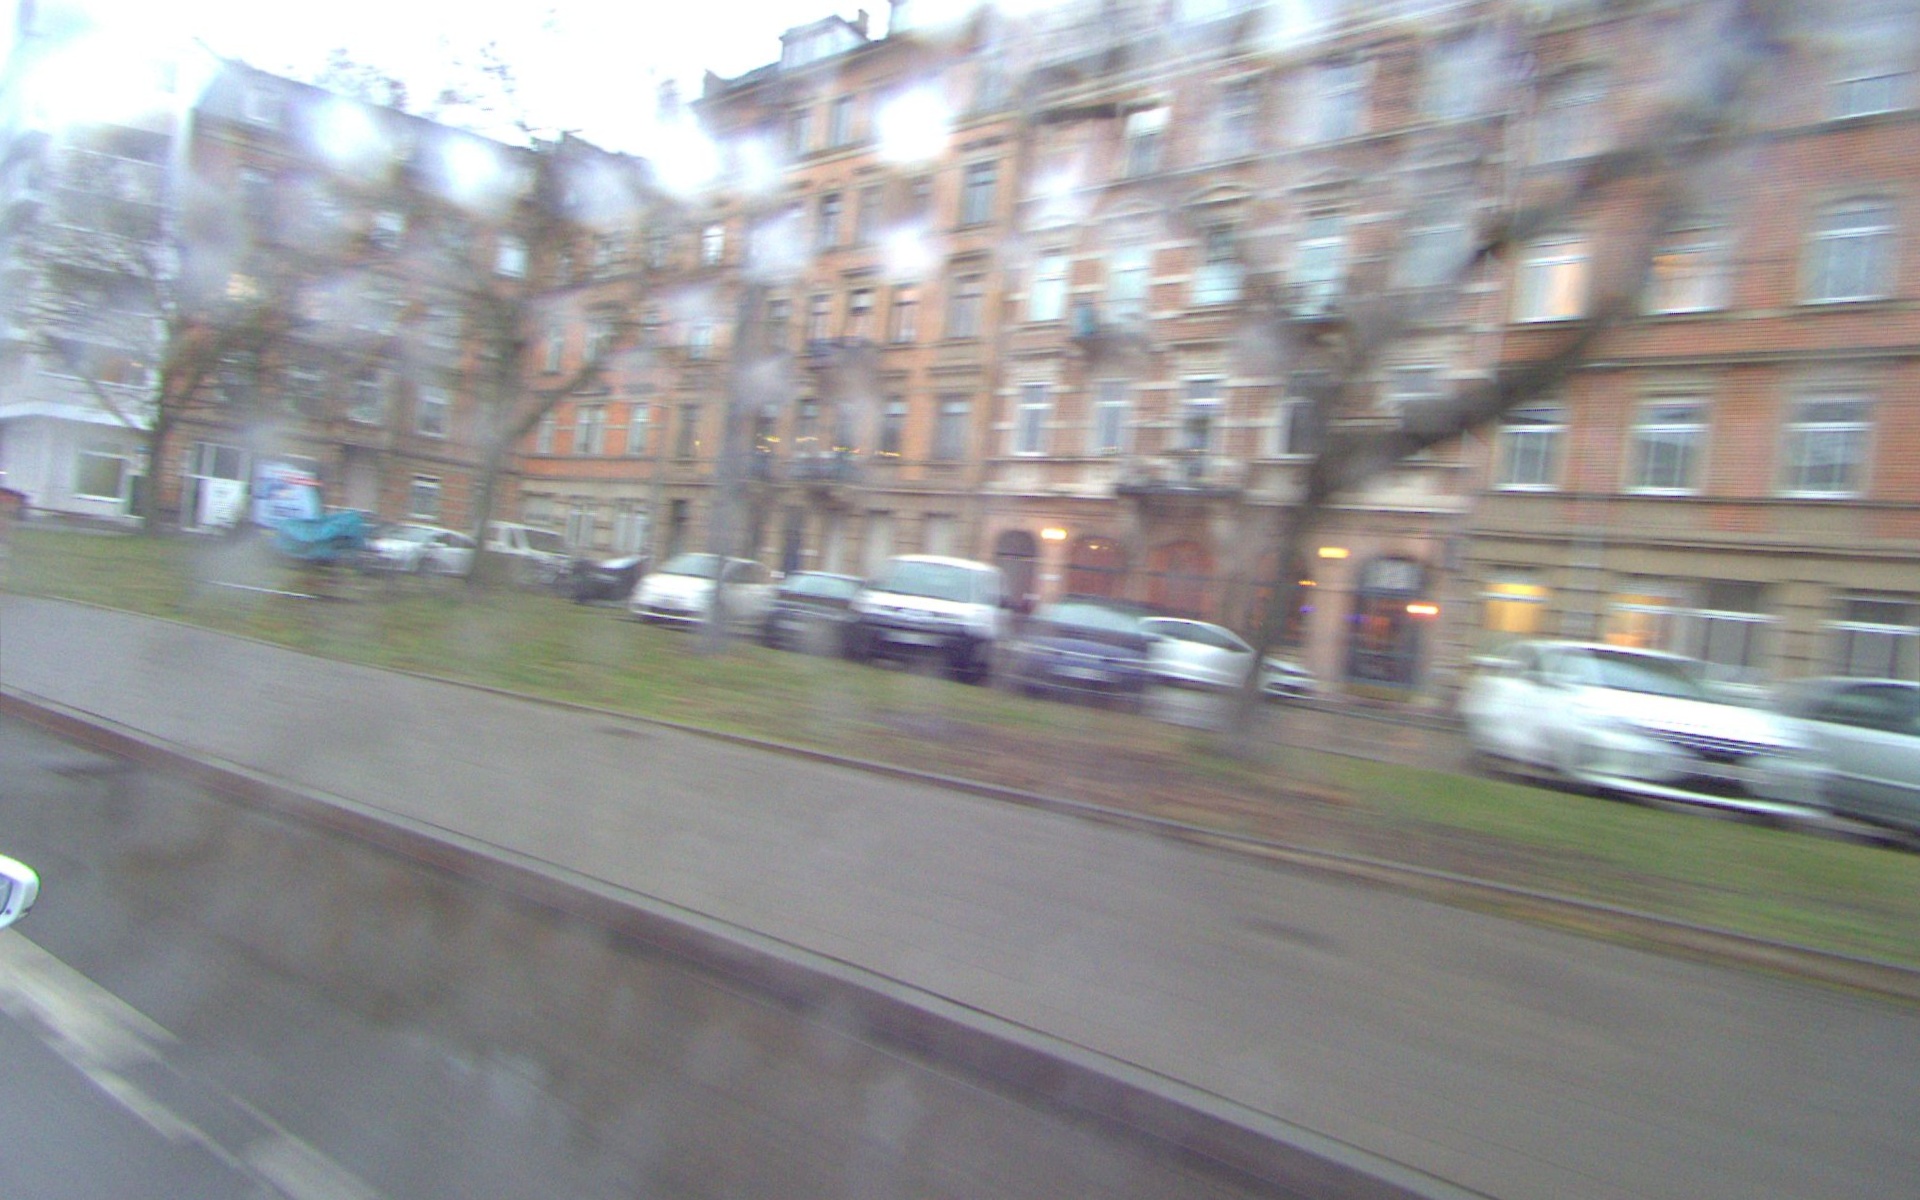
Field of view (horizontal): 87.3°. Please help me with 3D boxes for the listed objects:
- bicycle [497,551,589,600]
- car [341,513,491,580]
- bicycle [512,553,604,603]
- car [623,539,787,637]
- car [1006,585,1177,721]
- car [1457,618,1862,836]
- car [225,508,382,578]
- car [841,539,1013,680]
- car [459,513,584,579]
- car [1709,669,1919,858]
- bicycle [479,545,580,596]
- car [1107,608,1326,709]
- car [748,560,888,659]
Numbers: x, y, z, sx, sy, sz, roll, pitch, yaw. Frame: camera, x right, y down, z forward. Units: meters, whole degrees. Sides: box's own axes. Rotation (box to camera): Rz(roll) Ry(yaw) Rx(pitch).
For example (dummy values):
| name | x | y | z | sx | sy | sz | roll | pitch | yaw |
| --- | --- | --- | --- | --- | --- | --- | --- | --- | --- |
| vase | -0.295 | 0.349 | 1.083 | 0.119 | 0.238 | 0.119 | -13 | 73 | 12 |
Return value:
| name | x | y | z | sx | sy | sz | roll | pitch | yaw |
| --- | --- | --- | --- | --- | --- | --- | --- | --- | --- |
| bicycle | -10.805 | -0.622 | 26.159 | 0.615 | 0.977 | 2.167 | 10 | 0 | 31 |
| car | -14.412 | -1.371 | 26.898 | 1.666 | 1.353 | 3.858 | 7 | 0 | 3 |
| bicycle | -10.284 | -0.540 | 25.825 | 0.615 | 0.977 | 2.167 | 10 | 0 | 31 |
| car | -4.697 | -0.146 | 19.046 | 1.583 | 1.460 | 3.470 | 7 | -1 | 10 |
| car | 1.768 | 0.548 | 13.187 | 1.737 | 1.251 | 4.061 | 8 | 3 | 9 |
| car | 6.334 | 1.097 | 9.691 | 1.728 | 1.448 | 3.780 | 7 | -2 | 12 |
| car | -25.489 | -2.164 | 39.300 | 4.690 | 1.941 | 1.989 | 9 | -2 | -25 |
| car | -0.315 | 0.090 | 15.182 | 1.743 | 1.613 | 4.662 | 7 | 2 | 7 |
| car | -16.928 | -2.102 | 38.714 | 4.907 | 2.040 | 1.993 | 7 | 2 | 34 |
| car | 8.392 | 1.422 | 8.135 | 1.611 | 1.431 | 4.004 | 7 | -2 | 2 |
| bicycle | -10.129 | -0.669 | 23.739 | 0.615 | 0.978 | 2.165 | 7 | 1 | 31 |
| car | 5.362 | 1.210 | 21.246 | 3.988 | 1.518 | 1.733 | 7 | -2 | 36 |
| car | -2.368 | 0.182 | 17.609 | 1.633 | 1.367 | 3.434 | 7 | -1 | 3 |
